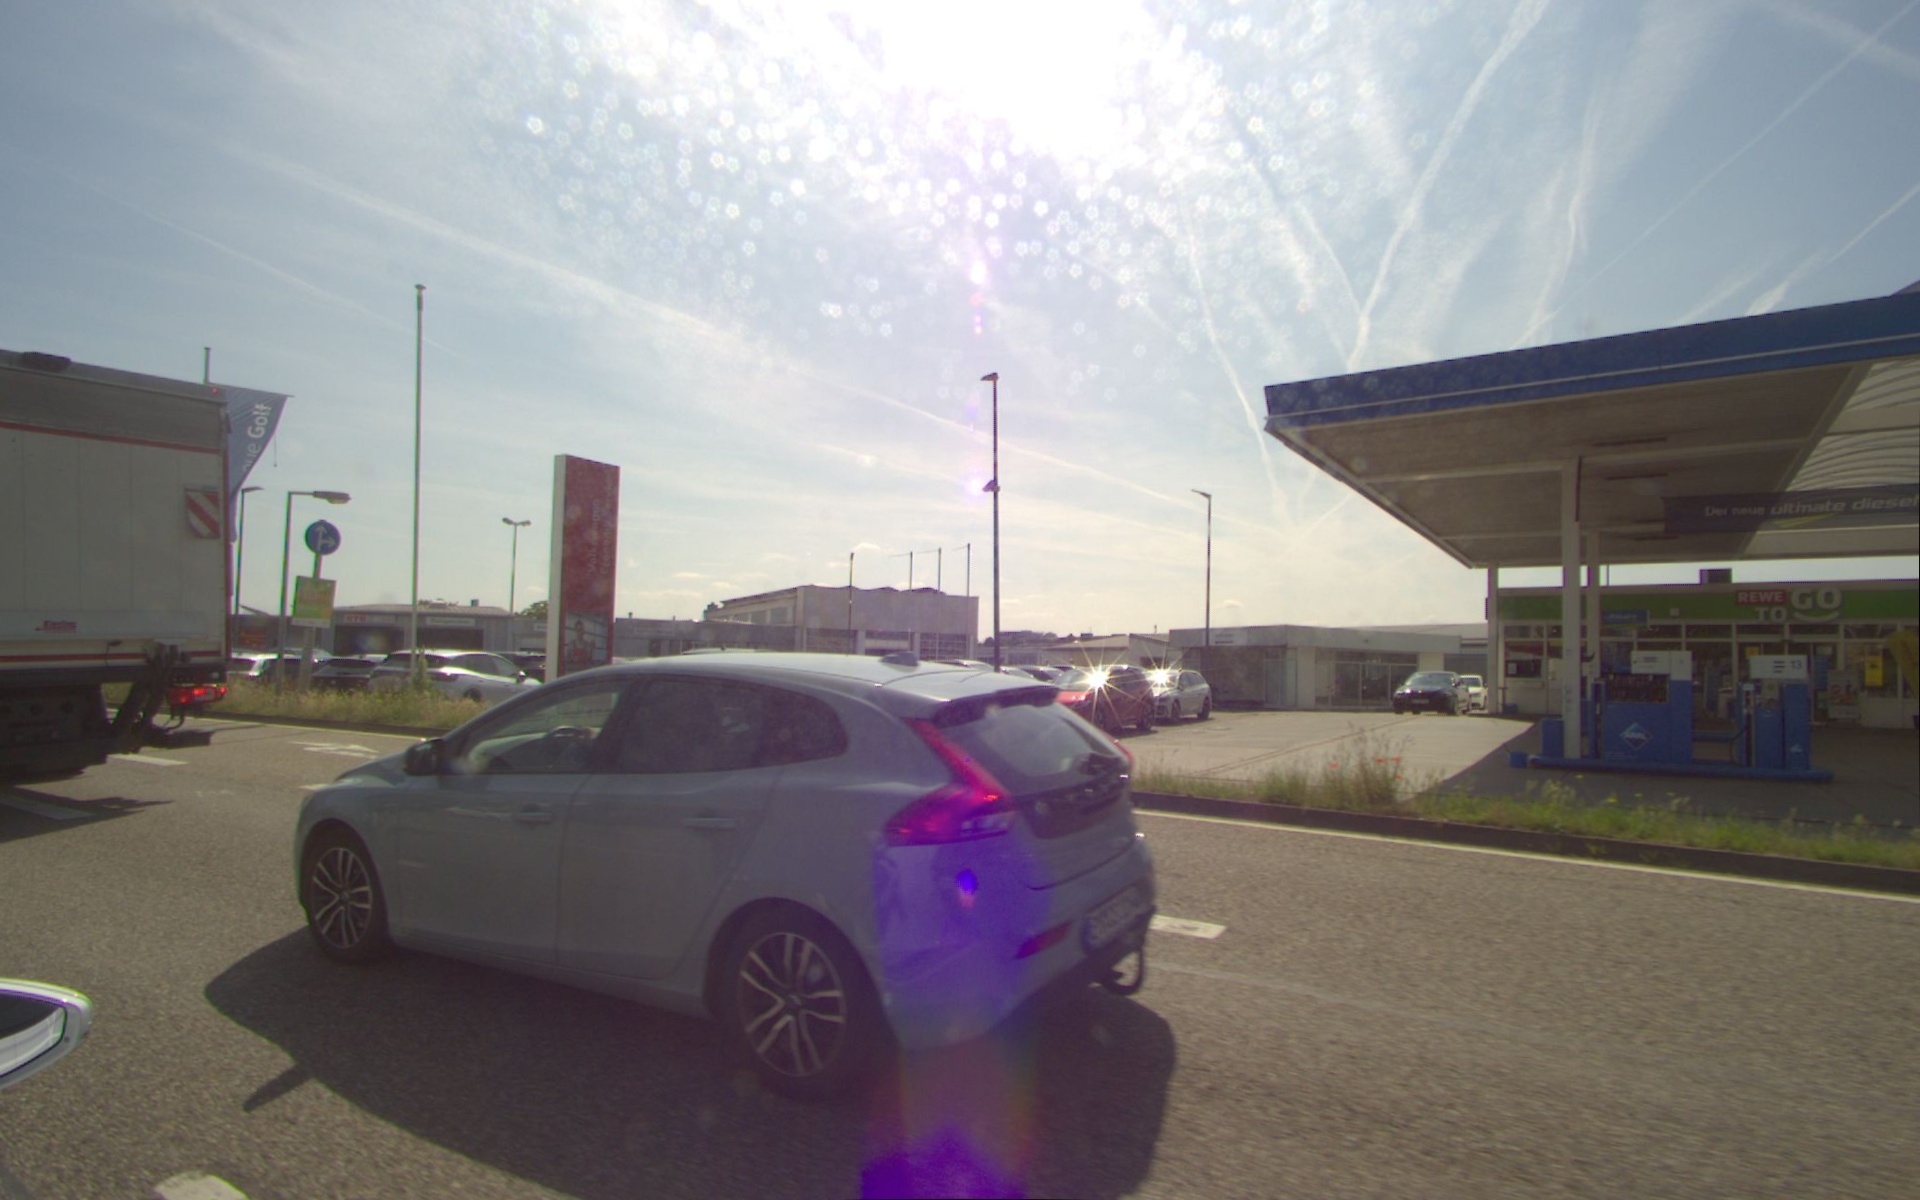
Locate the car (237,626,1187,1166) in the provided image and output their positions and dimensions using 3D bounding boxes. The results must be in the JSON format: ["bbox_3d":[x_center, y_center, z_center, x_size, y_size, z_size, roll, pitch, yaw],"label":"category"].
[{"bbox_3d":[-1.268,0.874,4.537,4.163,1.446,1.734,-1,-3,31],"label":"car"}]

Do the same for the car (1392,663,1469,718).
[{"bbox_3d":[15.538,2.932,32.966,1.730,1.657,3.980,-1,-4,34],"label":"car"}]

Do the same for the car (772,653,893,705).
[{"bbox_3d":[-3.987,2.428,31.191,3.543,1.445,1.556,-1,-2,31],"label":"car"}]

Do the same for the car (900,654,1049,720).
[{"bbox_3d":[0.373,2.308,27.280,3.803,1.615,1.556,-1,-1,30],"label":"car"}]

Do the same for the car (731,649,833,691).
[{"bbox_3d":[-6.660,2.588,37.419,3.634,1.427,1.556,-1,-2,30],"label":"car"}]

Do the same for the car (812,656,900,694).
[{"bbox_3d":[-4.373,3.113,41.883,3.645,1.427,1.552,-1,-2,40],"label":"car"}]

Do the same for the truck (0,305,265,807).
[{"bbox_3d":[-11.919,-0.270,10.837,10.977,3.858,2.877,-1,-3,31],"label":"truck"}]

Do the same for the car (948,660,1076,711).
[{"bbox_3d":[1.653,2.692,32.058,3.803,1.461,1.612,-1,-2,30],"label":"car"}]

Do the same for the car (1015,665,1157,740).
[{"bbox_3d":[3.072,2.353,23.785,1.782,1.591,3.895,-1,-3,34],"label":"car"}]

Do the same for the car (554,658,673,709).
[{"bbox_3d":[-10.723,2.545,30.975,3.542,1.427,1.556,-1,-2,30],"label":"car"}]

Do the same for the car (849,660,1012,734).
[{"bbox_3d":[-0.761,2.363,24.989,3.803,1.615,1.612,-1,-1,30],"label":"car"}]

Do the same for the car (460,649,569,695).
[{"bbox_3d":[-14.924,2.369,33.511,3.542,1.427,1.556,-1,-2,30],"label":"car"}]

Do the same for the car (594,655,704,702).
[{"bbox_3d":[-10.510,2.610,33.811,3.542,1.427,1.556,-1,-2,30],"label":"car"}]

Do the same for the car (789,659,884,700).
[{"bbox_3d":[-4.807,3.058,38.831,3.642,1.427,1.553,-1,-2,37],"label":"car"}]

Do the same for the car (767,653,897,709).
[{"bbox_3d":[-3.714,2.290,28.885,3.543,1.445,1.556,-1,-2,31],"label":"car"}]

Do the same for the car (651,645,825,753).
[{"bbox_3d":[-3.311,1.439,15.595,1.533,1.427,3.596,0,-2,7],"label":"car"}]

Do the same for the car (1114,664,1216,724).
[{"bbox_3d":[5.911,2.611,28.451,1.540,1.513,4.326,-1,-4,30],"label":"car"}]

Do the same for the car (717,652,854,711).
[{"bbox_3d":[-4.789,2.181,27.325,3.543,1.427,1.556,-1,-2,31],"label":"car"}]

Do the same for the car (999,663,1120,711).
[{"bbox_3d":[3.412,2.950,34.514,3.803,1.461,1.706,-1,-2,30],"label":"car"}]

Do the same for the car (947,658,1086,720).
[{"bbox_3d":[1.644,2.560,29.474,3.803,1.615,1.612,-1,-1,30],"label":"car"}]
